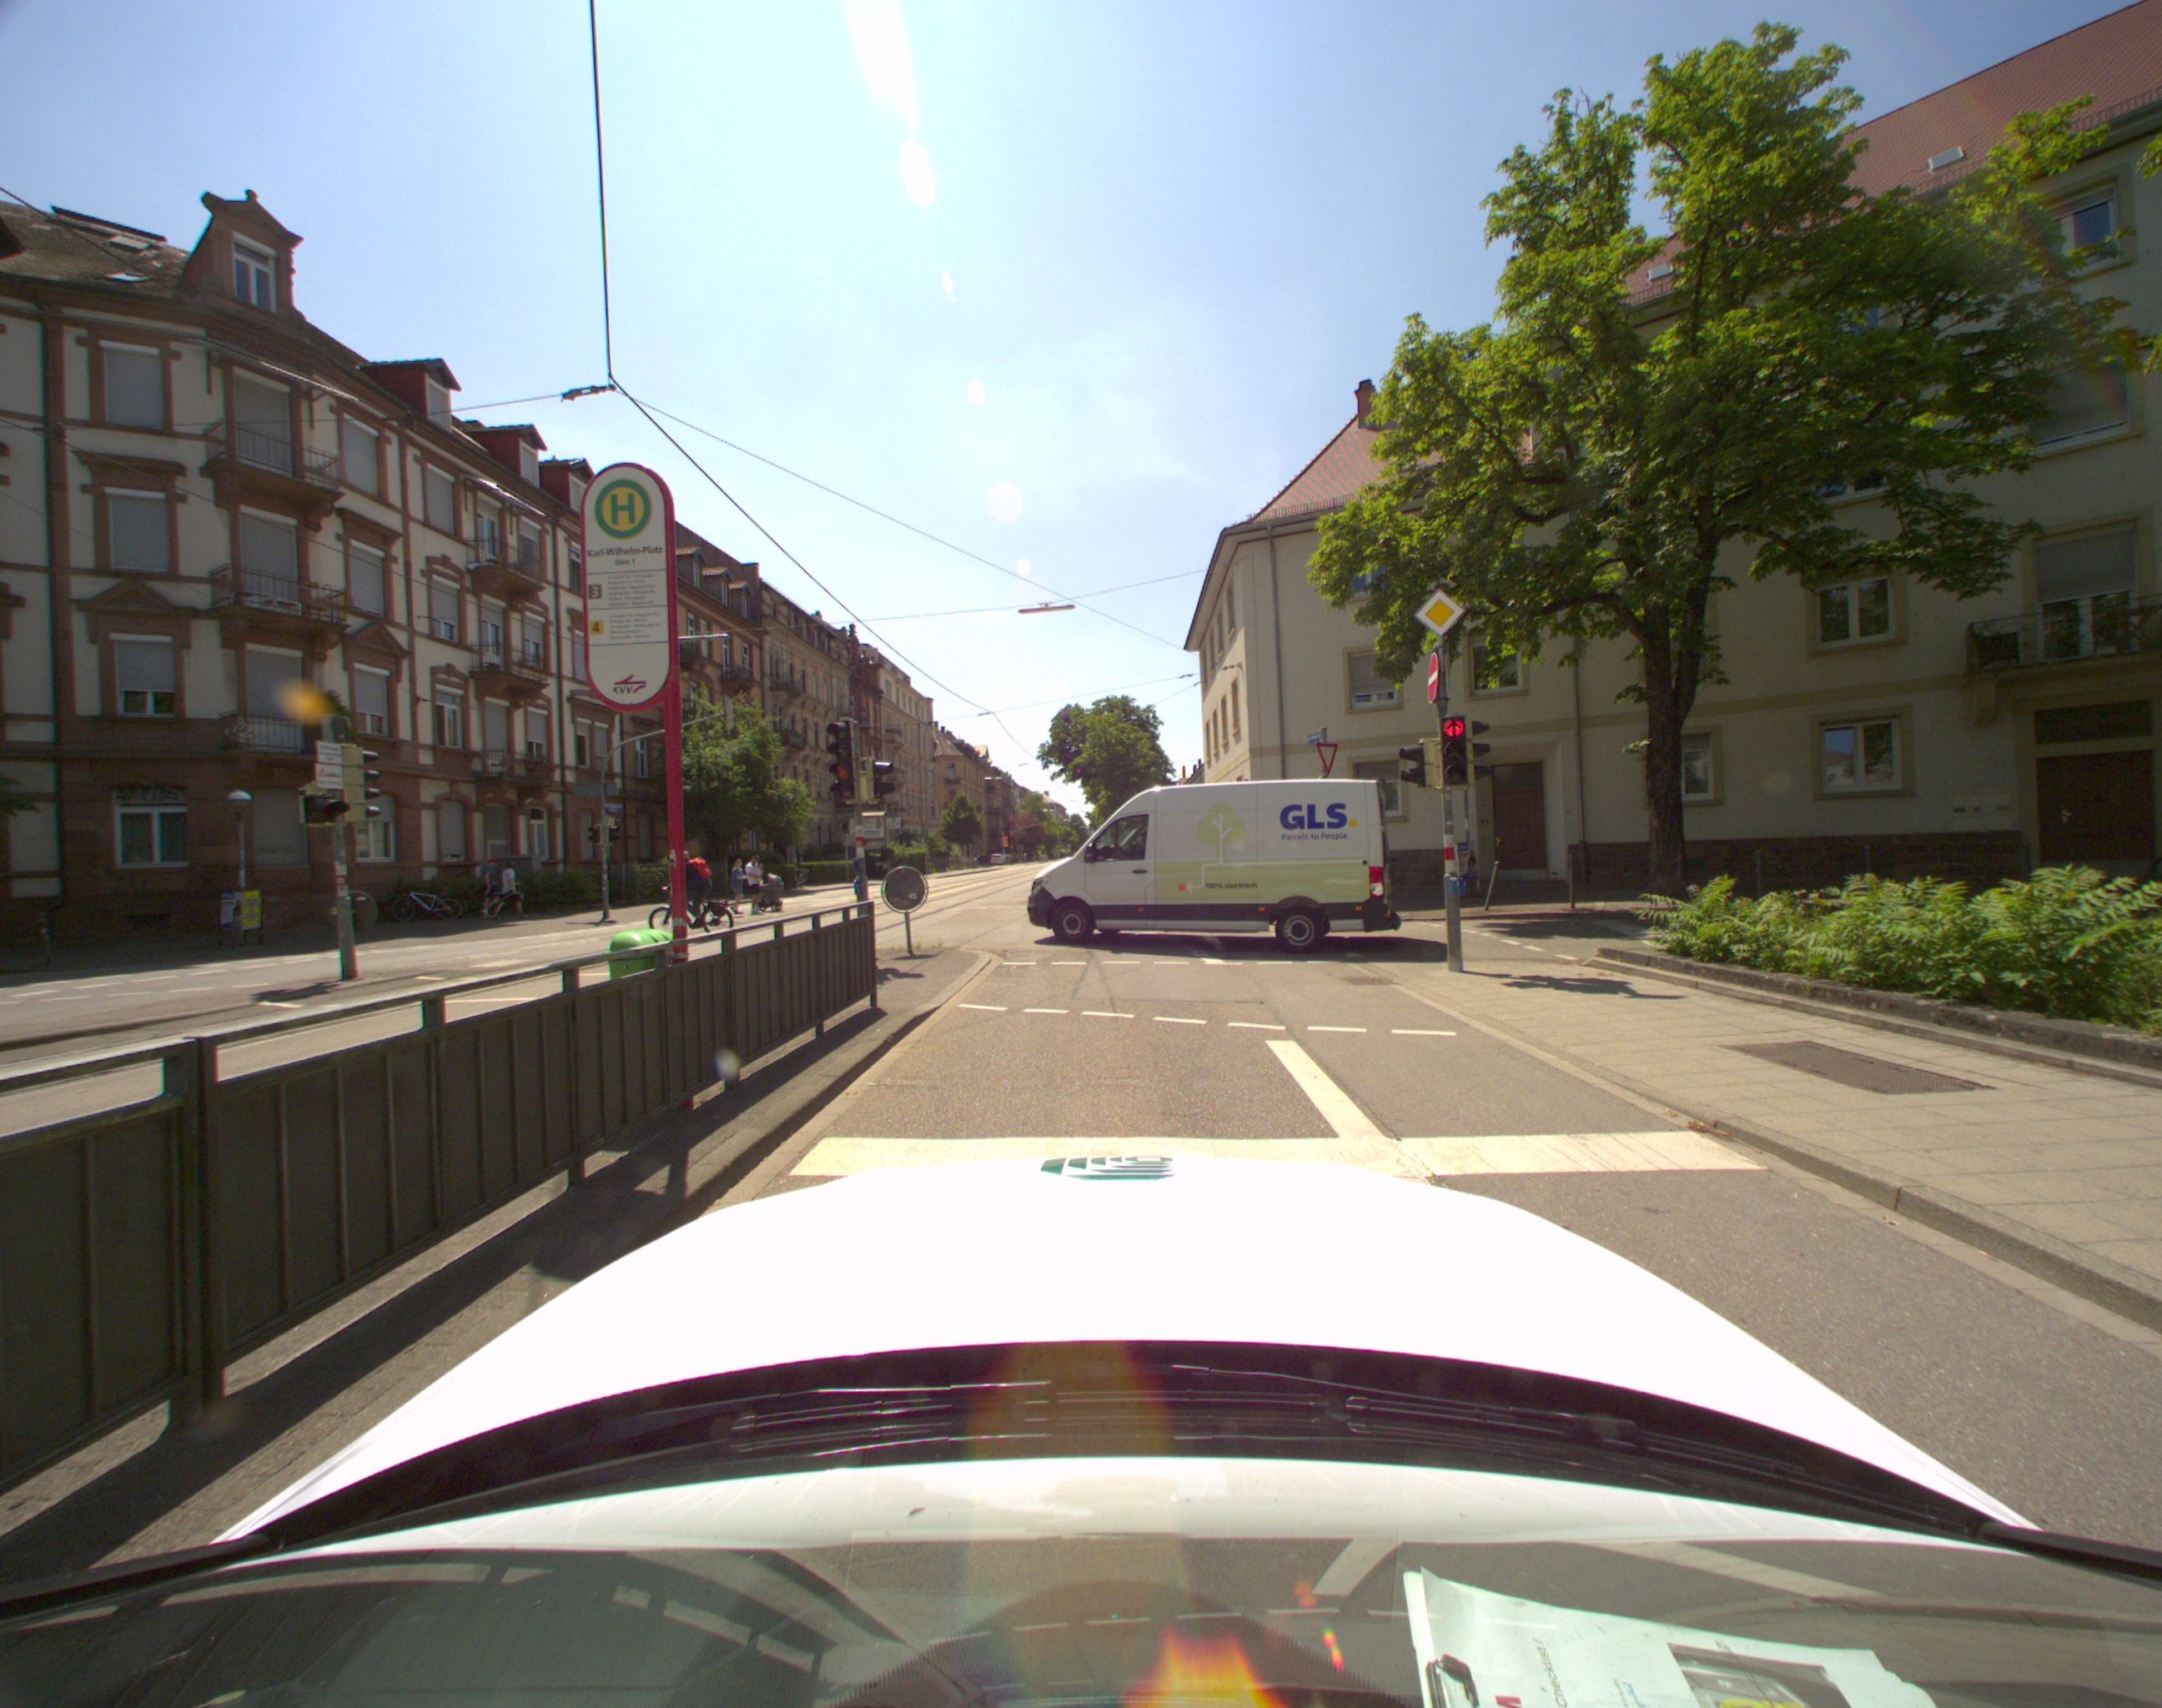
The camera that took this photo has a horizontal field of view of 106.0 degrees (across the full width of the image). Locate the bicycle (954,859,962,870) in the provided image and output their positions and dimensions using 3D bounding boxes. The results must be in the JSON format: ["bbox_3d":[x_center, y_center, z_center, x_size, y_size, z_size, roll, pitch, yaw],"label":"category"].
[{"bbox_3d":[-12.160,1.029,80.489,0.677,1.064,1.912,-2,0,-9],"label":"bicycle"}]

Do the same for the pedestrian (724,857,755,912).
[{"bbox_3d":[-10.369,0.913,24.733,0.671,1.645,0.559,0,-1,6],"label":"pedestrian"}]

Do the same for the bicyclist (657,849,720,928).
[{"bbox_3d":[-7.953,0.693,16.540,0.892,1.561,0.723,-1,-1,3],"label":"bicyclist"}]

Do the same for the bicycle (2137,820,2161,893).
[{"bbox_3d":[17.008,0.021,12.076,0.527,1.104,1.589,-2,0,-34],"label":"bicycle"}]

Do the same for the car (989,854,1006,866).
[{"bbox_3d":[-11.889,0.810,116.055,1.912,1.715,4.001,0,-1,2],"label":"car"}]

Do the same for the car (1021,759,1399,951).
[{"bbox_3d":[2.122,0.048,13.465,5.757,2.673,2.286,-1,-1,23],"label":"car"}]

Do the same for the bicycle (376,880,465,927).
[{"bbox_3d":[-19.558,1.435,24.150,0.557,1.294,1.975,-1,-1,43],"label":"bicycle"}]

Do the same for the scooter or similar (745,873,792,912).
[{"bbox_3d":[-9.439,1.151,24.631,1.195,1.155,0.559,0,-1,6],"label":"scooter or similar"}]

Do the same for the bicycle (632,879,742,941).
[{"bbox_3d":[-8.018,1.132,16.600,1.912,1.173,0.649,-1,-1,2],"label":"bicycle"}]

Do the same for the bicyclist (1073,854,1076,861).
[{"bbox_3d":[-1.657,1.009,222.184,0.724,1.768,1.080,0,-1,3],"label":"bicyclist"}]

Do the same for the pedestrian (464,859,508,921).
[{"bbox_3d":[-18.127,1.080,24.807,0.808,1.822,0.879,0,1,39],"label":"pedestrian"}]

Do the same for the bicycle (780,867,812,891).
[{"bbox_3d":[-14.423,1.253,41.243,0.936,1.136,2.767,0,-1,-7],"label":"bicycle"}]

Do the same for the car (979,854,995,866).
[{"bbox_3d":[-14.341,0.896,124.457,1.912,1.715,4.001,0,-1,2],"label":"car"}]

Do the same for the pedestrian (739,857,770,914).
[{"bbox_3d":[-9.548,0.900,23.825,0.671,1.645,0.559,0,-1,6],"label":"pedestrian"}]

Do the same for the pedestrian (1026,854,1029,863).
[{"bbox_3d":[-8.575,0.735,130.115,0.404,1.461,0.436,-2,0,1],"label":"pedestrian"}]

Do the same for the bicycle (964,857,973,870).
[{"bbox_3d":[-11.716,0.956,85.126,0.675,1.278,1.918,-2,0,-1],"label":"bicycle"}]

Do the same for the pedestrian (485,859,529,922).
[{"bbox_3d":[-17.364,1.073,24.624,0.808,1.822,0.879,0,1,39],"label":"pedestrian"}]

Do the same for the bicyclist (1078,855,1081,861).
[{"bbox_3d":[-0.438,1.092,233.648,0.724,1.818,1.080,0,-1,3],"label":"bicyclist"}]

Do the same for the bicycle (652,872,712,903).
[{"bbox_3d":[-15.673,1.298,32.072,0.934,1.136,2.774,0,-1,1],"label":"bicycle"}]

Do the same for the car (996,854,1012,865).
[{"bbox_3d":[-11.669,0.876,124.319,1.912,1.715,4.001,0,-1,2],"label":"car"}]
